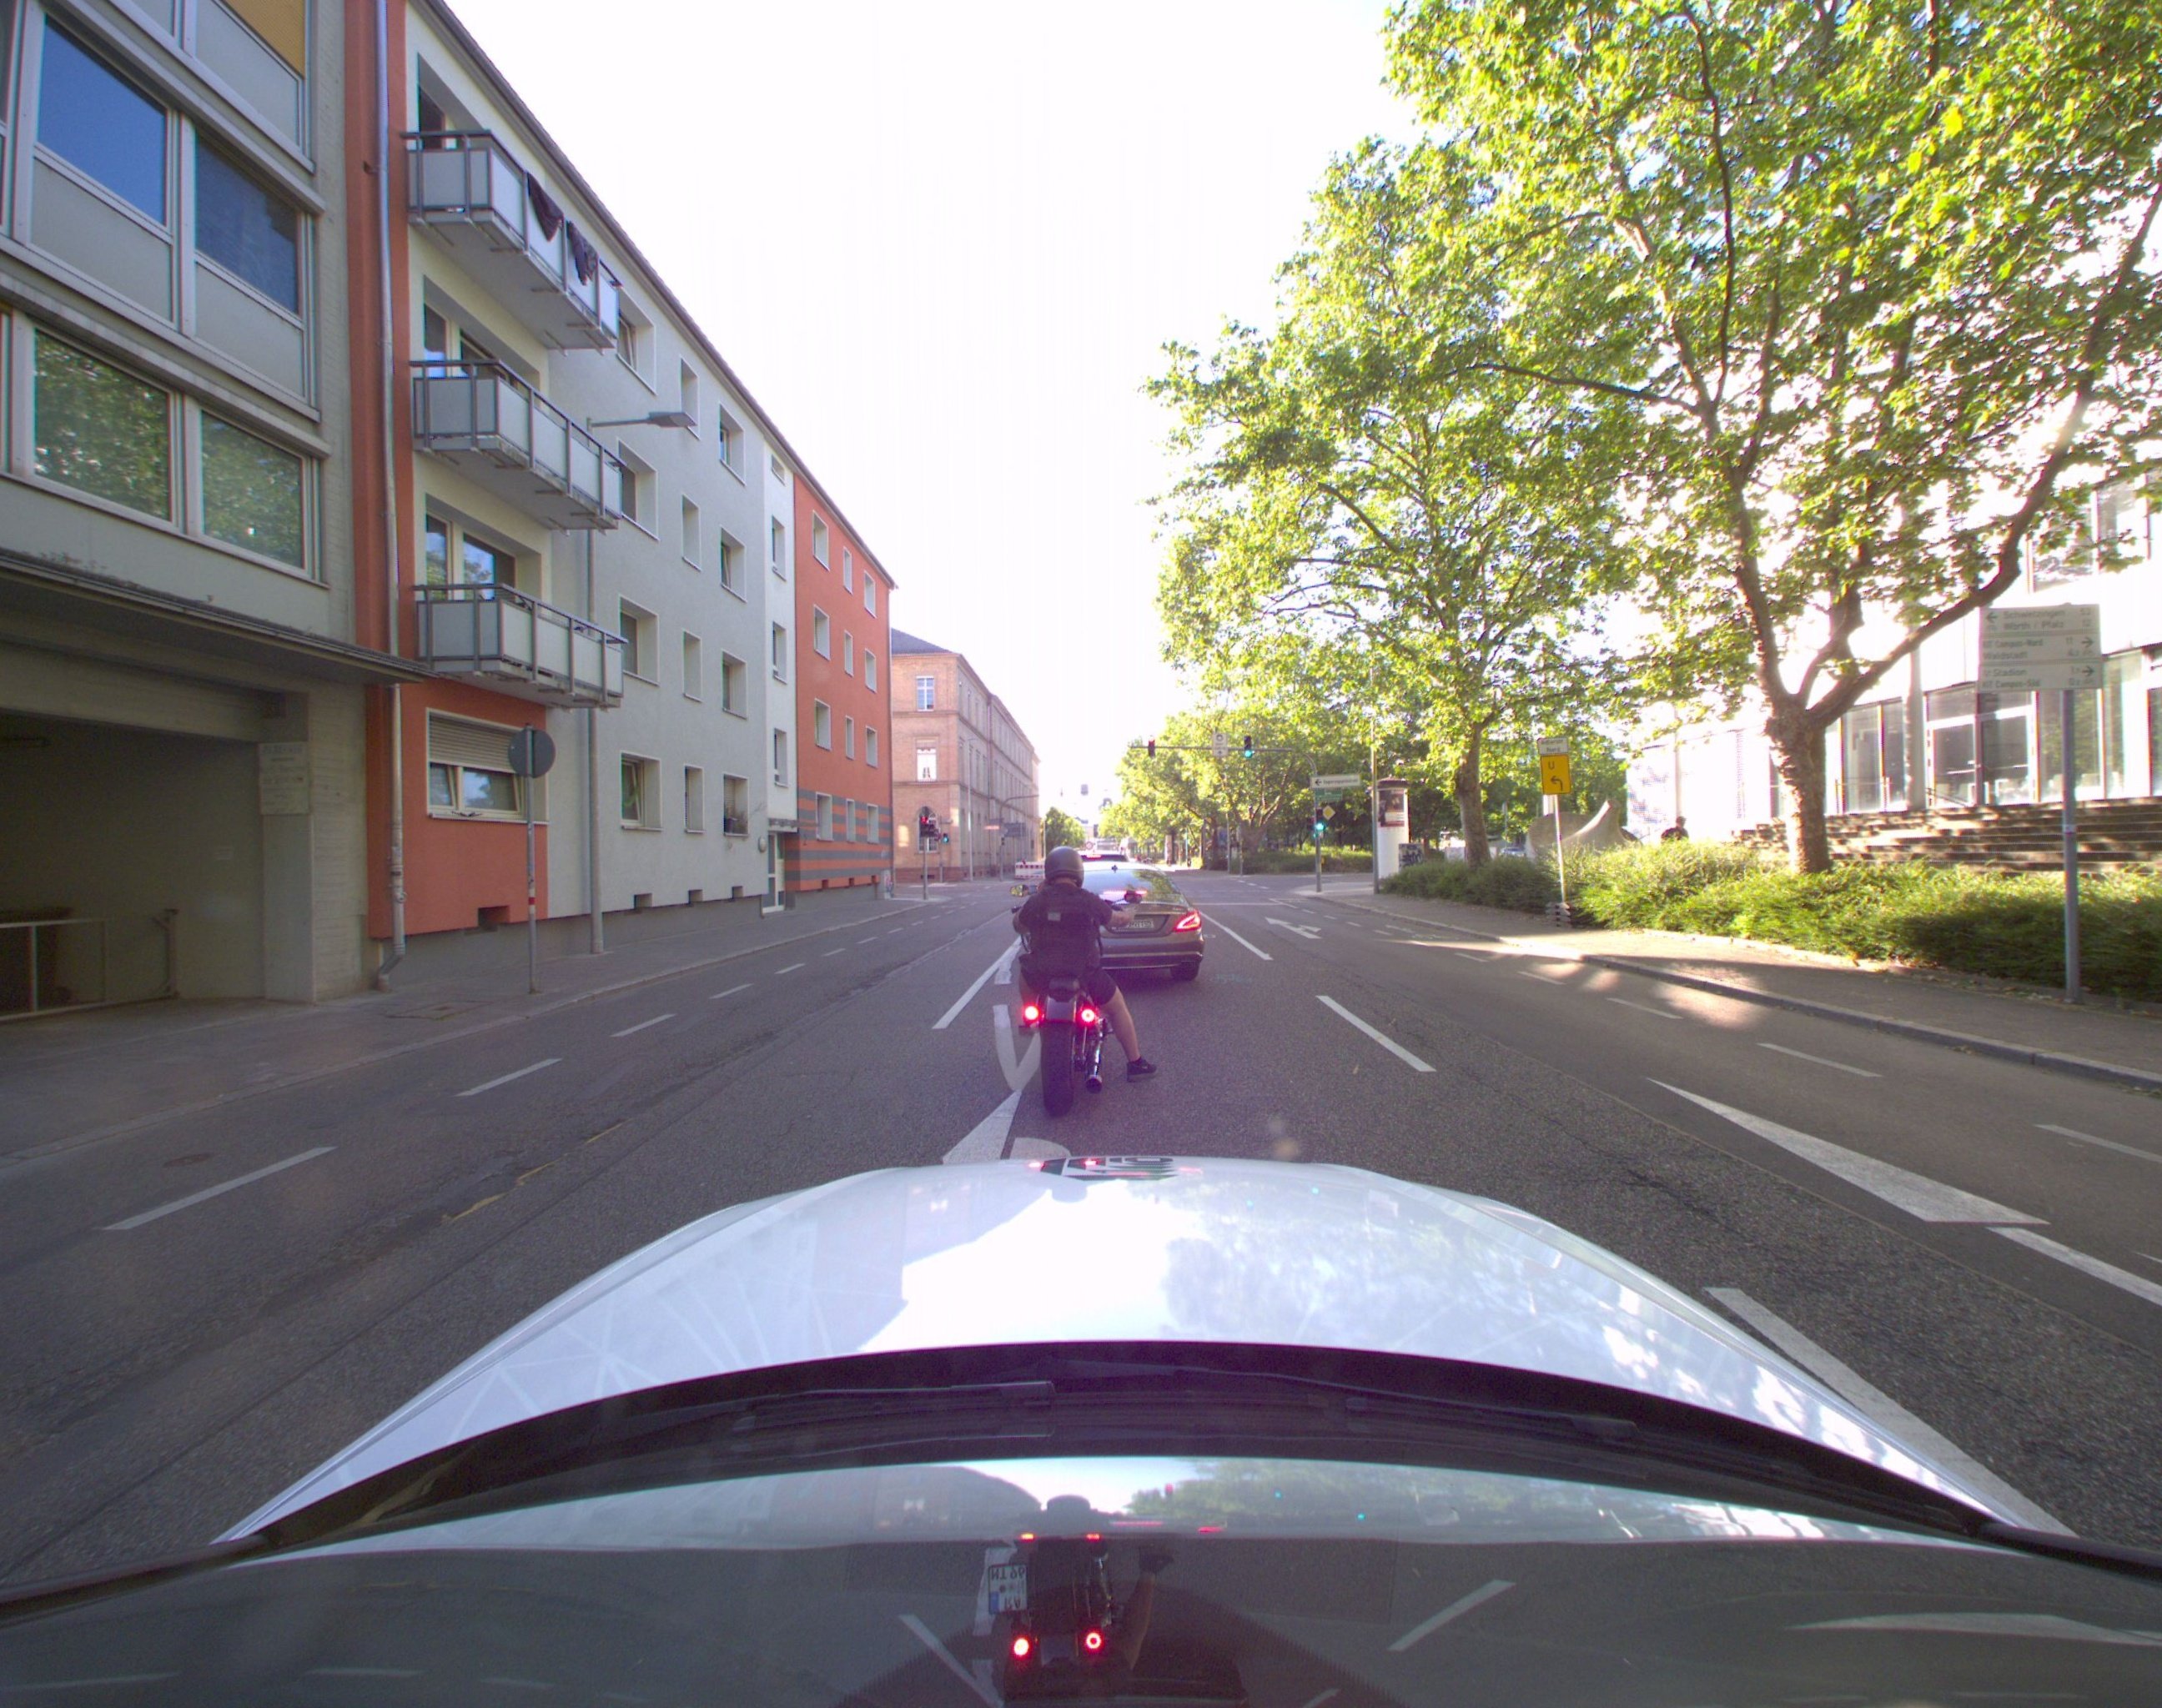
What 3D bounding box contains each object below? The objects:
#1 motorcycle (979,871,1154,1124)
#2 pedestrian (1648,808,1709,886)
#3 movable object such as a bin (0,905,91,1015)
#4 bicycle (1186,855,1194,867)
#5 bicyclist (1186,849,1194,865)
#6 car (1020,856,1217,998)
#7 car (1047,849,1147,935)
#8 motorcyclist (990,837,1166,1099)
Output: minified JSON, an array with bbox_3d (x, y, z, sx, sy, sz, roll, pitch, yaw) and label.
[{"bbox_3d":[-0.043,0.818,5.664,0.958,1.357,2.321,0,-1,2],"label":"motorcycle"},{"bbox_3d":[14.018,-0.157,19.127,0.781,1.781,0.862,-1,0,0],"label":"pedestrian"},{"bbox_3d":[-11.327,1.103,8.651,0.736,1.074,0.716,0,-1,2],"label":"movable object such as a bin"},{"bbox_3d":[10.666,0.669,79.658,0.712,1.172,2.179,0,-1,6],"label":"bicycle"},{"bbox_3d":[10.665,0.271,79.568,0.713,1.582,0.937,0,-1,5],"label":"bicyclist"},{"bbox_3d":[0.252,0.765,10.731,1.900,1.441,4.278,-1,0,-7],"label":"car"},{"bbox_3d":[0.266,0.701,16.899,1.808,1.536,3.847,-1,0,-1],"label":"car"},{"bbox_3d":[-0.008,0.694,5.394,1.057,1.582,0.908,0,-1,1],"label":"motorcyclist"}]
